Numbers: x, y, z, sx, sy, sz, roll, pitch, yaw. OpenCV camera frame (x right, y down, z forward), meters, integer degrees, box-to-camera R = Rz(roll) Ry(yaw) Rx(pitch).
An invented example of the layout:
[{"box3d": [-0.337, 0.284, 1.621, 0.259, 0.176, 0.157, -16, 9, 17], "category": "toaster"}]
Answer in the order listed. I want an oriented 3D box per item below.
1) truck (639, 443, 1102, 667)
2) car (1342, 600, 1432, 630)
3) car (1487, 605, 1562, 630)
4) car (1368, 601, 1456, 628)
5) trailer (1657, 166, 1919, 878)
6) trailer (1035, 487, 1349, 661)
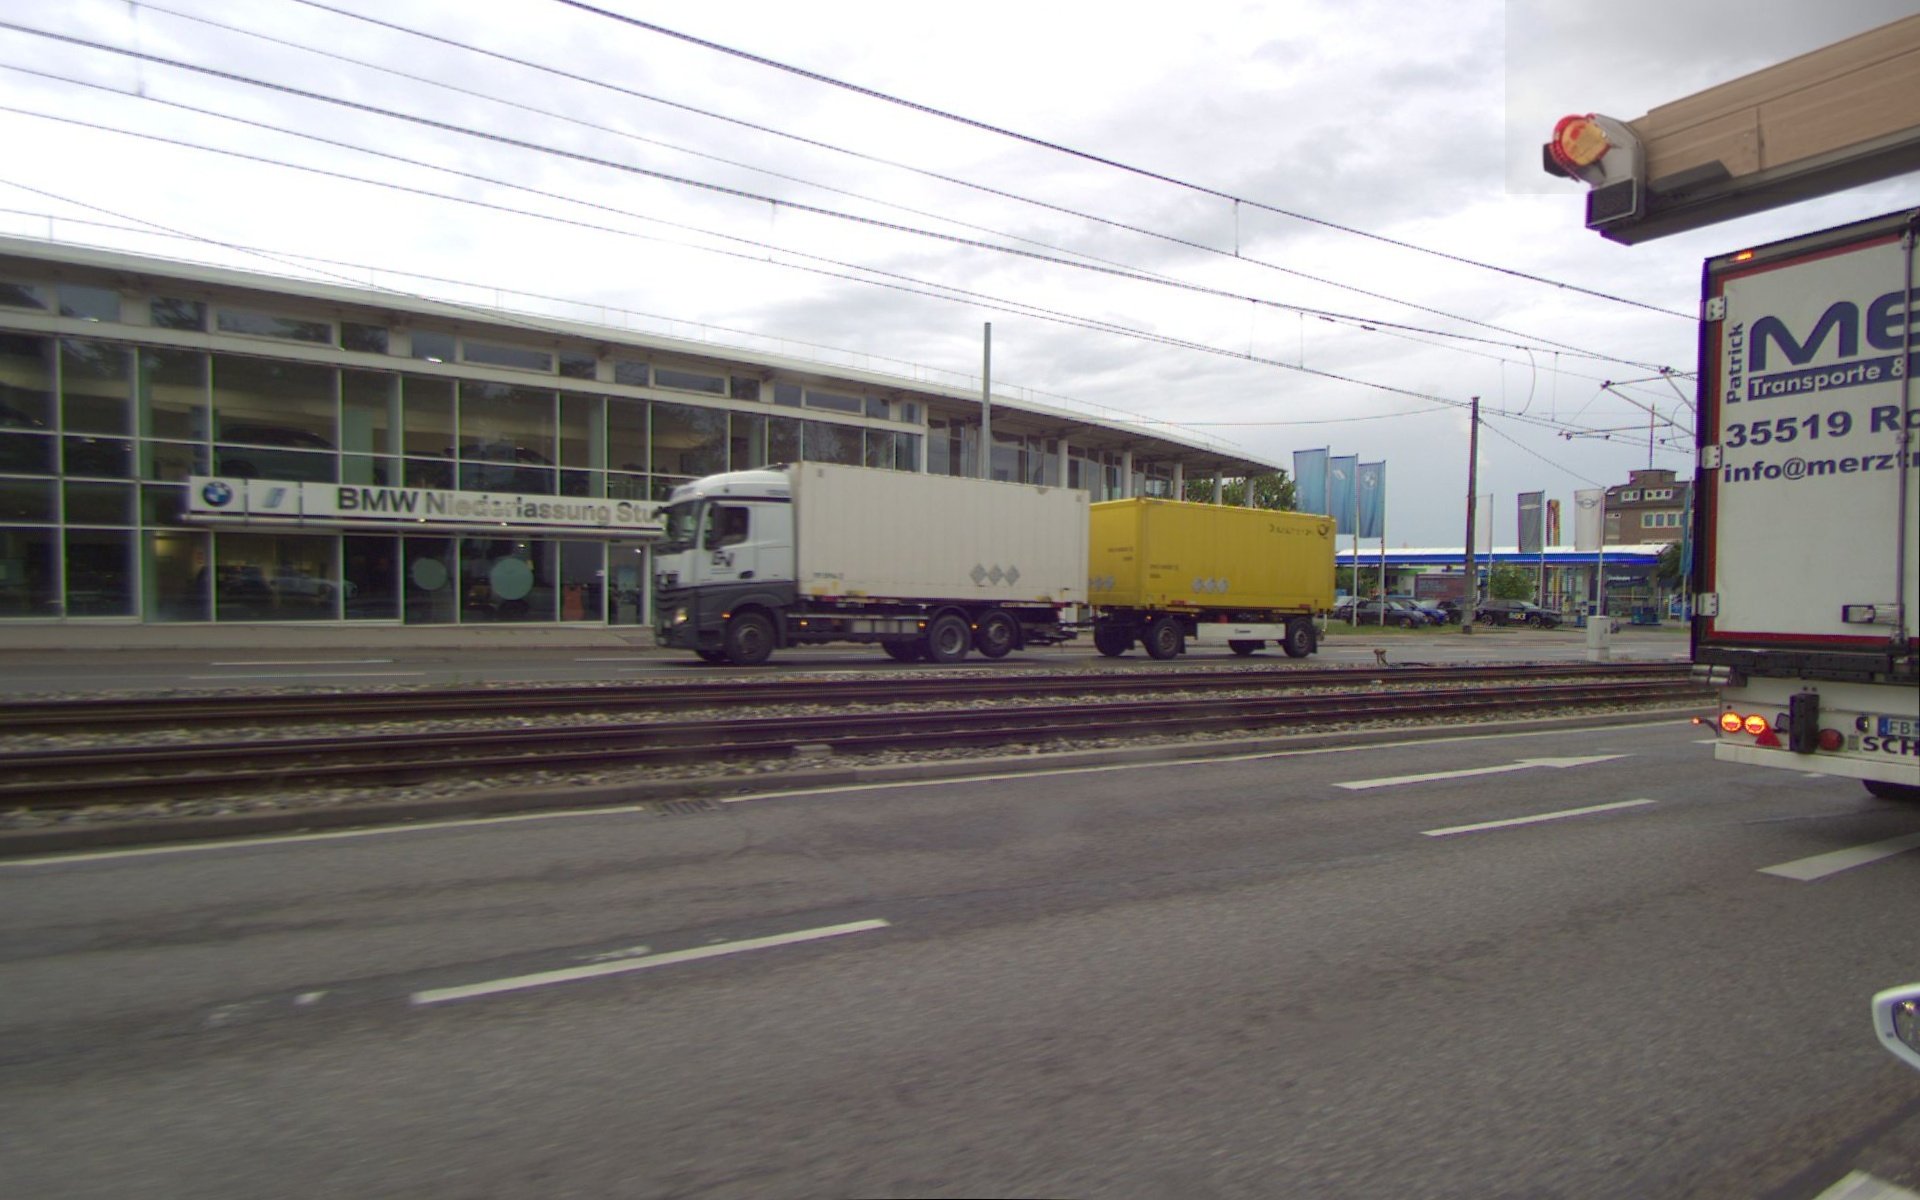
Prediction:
[{"box3d": [-1.631, -0.730, 22.189, 10.029, 4.105, 2.668, 1, 0, -32], "category": "truck"}, {"box3d": [21.757, 0.732, 51.236, 3.938, 1.252, 1.695, 3, 4, 39], "category": "car"}, {"box3d": [33.445, 1.035, 59.561, 1.694, 1.291, 3.503, 2, 1, -26], "category": "car"}, {"box3d": [23.983, 0.785, 53.366, 3.938, 1.251, 1.753, 2, 0, 39], "category": "car"}, {"box3d": [11.383, -0.368, 9.439, 13.028, 4.309, 2.749, 1, 0, -31], "category": "trailer"}, {"box3d": [6.481, -0.541, 27.247, 8.982, 4.105, 2.668, 1, 0, -32], "category": "trailer"}]
